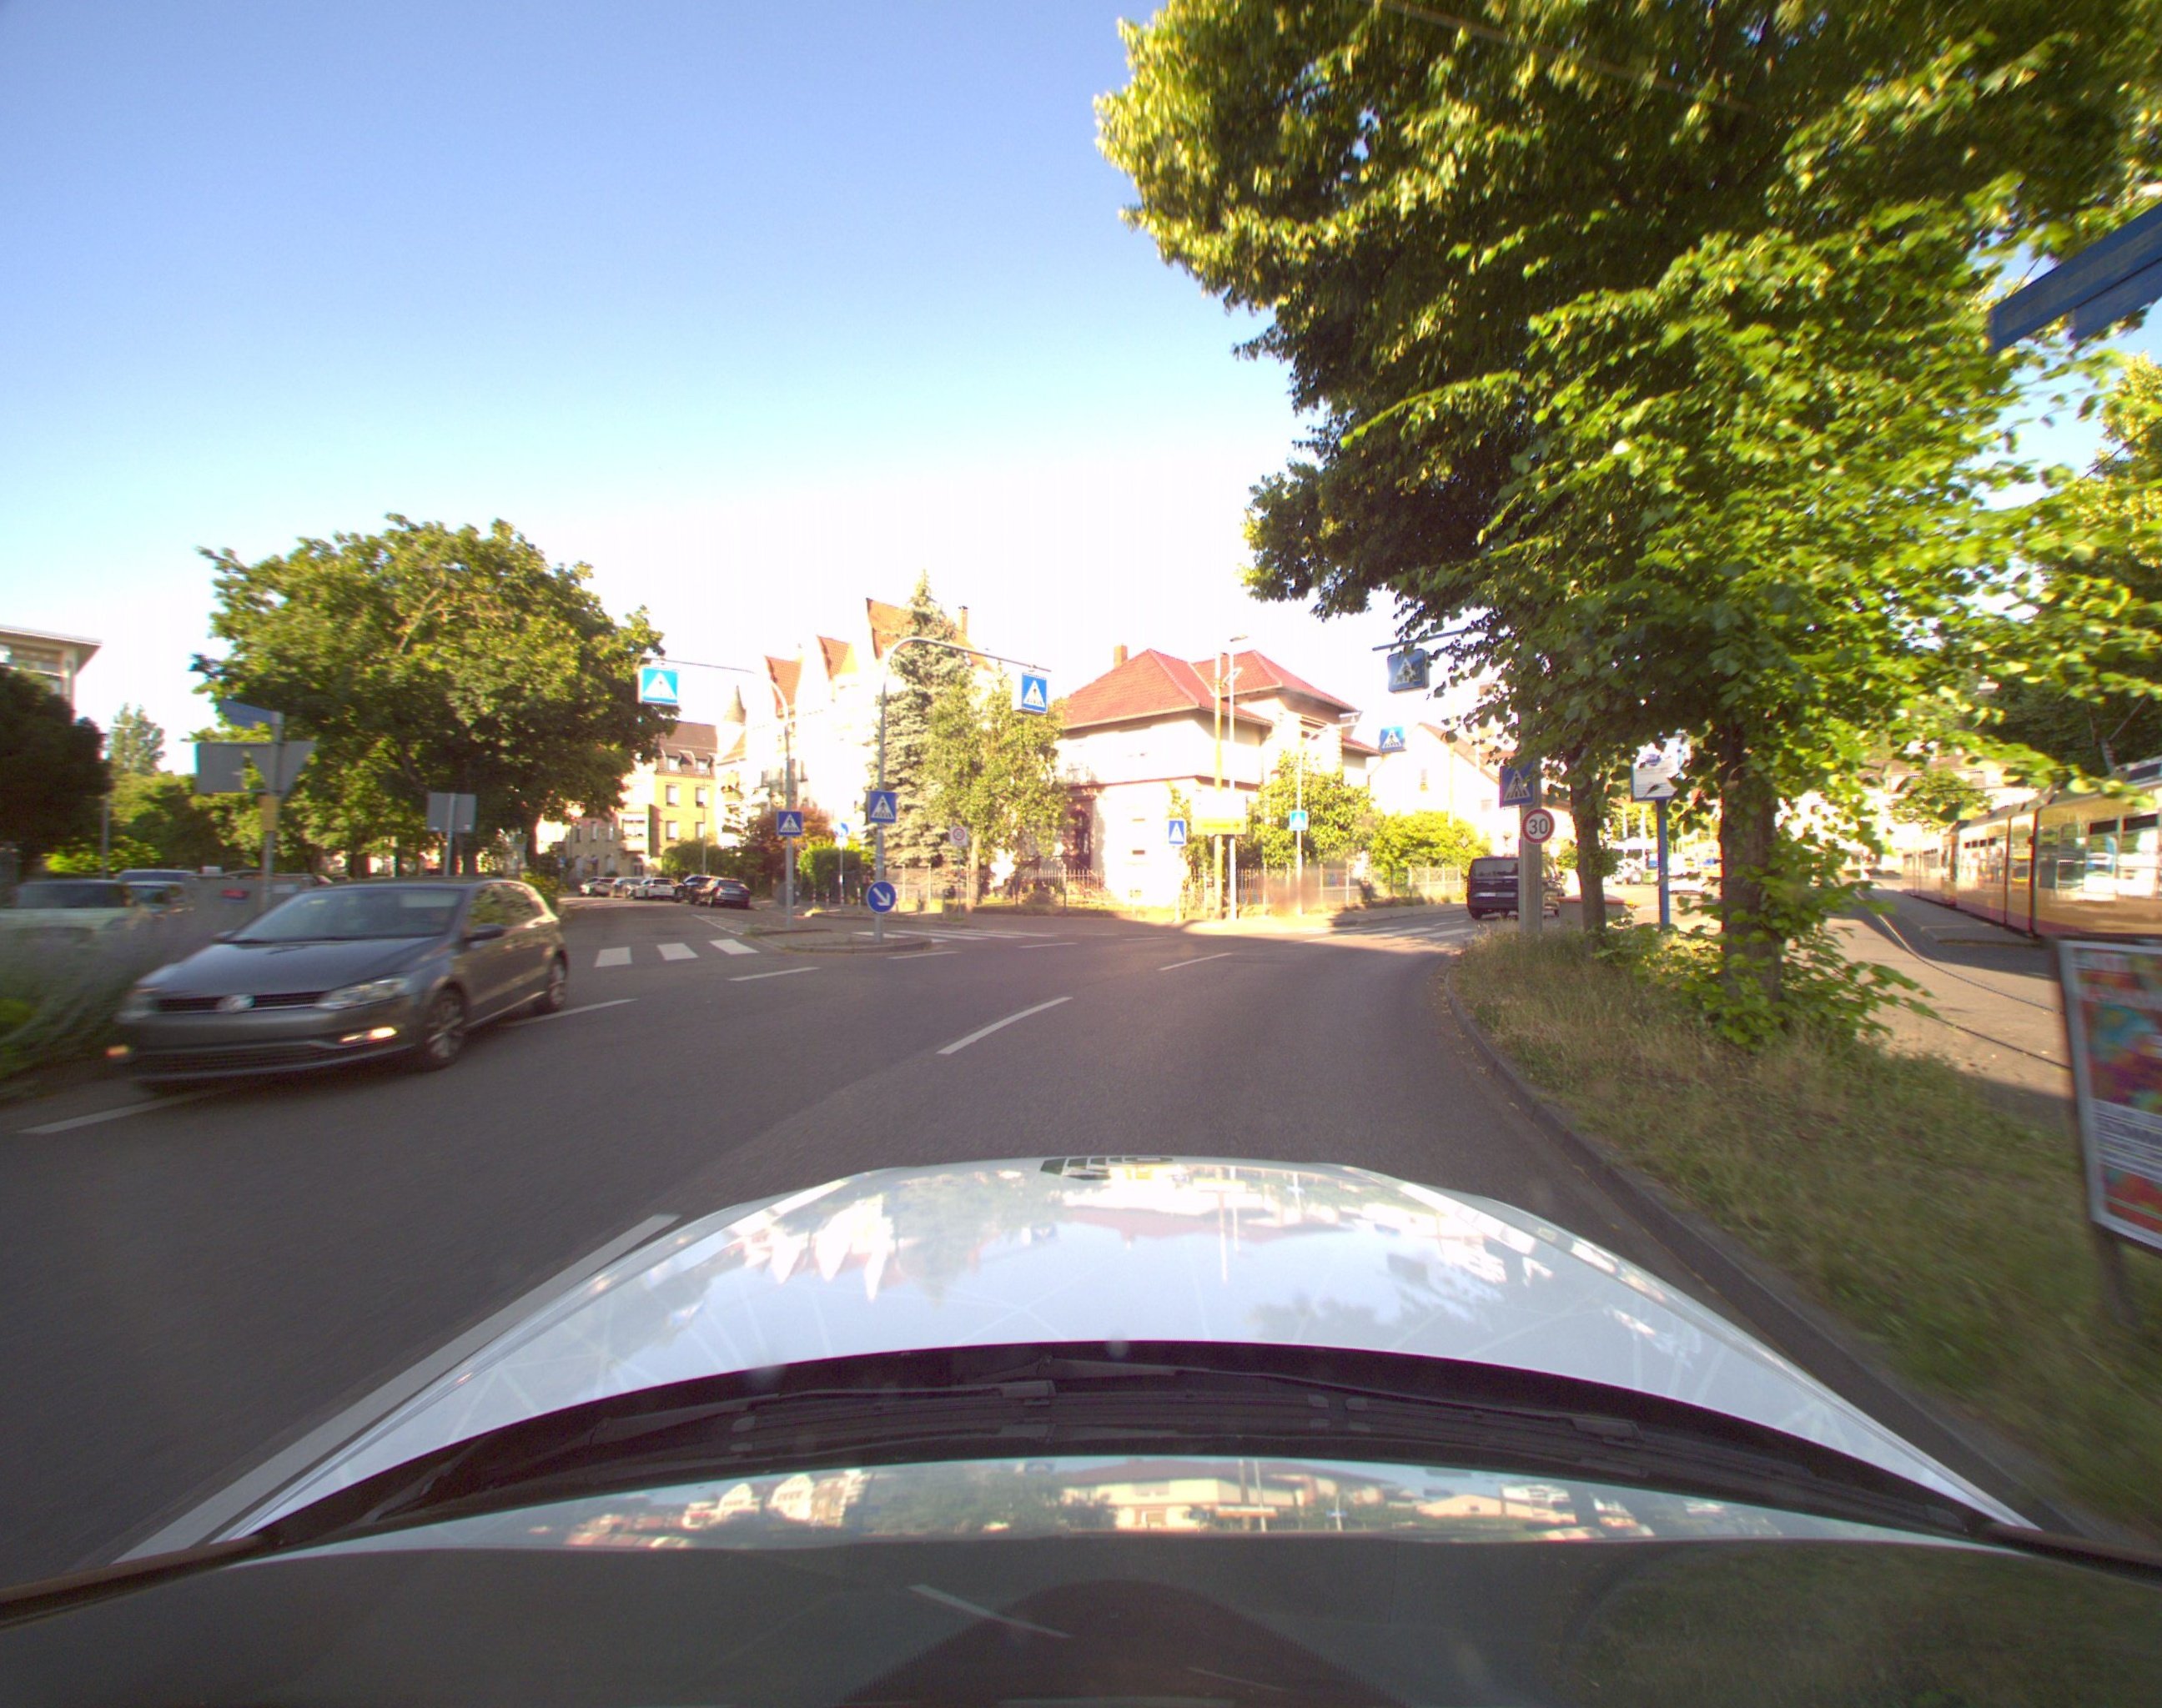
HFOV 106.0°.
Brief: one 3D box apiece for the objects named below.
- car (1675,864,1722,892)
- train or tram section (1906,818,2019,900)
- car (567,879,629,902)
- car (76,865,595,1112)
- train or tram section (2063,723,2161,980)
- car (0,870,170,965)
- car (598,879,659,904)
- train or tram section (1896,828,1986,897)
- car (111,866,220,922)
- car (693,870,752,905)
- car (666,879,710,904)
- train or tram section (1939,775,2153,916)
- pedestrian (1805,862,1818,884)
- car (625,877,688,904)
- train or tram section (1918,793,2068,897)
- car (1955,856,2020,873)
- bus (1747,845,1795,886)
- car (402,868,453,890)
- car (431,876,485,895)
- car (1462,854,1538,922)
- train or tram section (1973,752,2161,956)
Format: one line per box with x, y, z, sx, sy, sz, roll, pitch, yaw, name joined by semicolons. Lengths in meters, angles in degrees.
40.328;1.558;53.298;1.974;1.717;4.024;-1;-2;31;car
42.685;0.278;39.727;2.749;3.556;9.980;-1;-1;42;train or tram section
-35.326;2.612;59.475;4.866;1.596;2.362;-1;-2;40;car
-5.655;0.830;6.883;1.716;1.403;3.717;-2;0;-16;car
15.853;-0.036;10.198;2.749;3.556;9.981;-1;-1;40;train or tram section
-18.261;1.066;14.923;1.824;1.537;3.861;2;-2;-45;car
-30.969;2.534;55.652;2.361;1.596;4.868;2;-2;-45;car
49.433;0.499;47.057;2.749;3.556;9.980;-1;-1;42;train or tram section
-29.904;1.255;26.730;1.952;1.663;4.454;2;-2;-44;car
-17.381;1.610;39.393;2.007;1.596;3.959;1;-2;-32;car
-20.704;1.930;42.840;1.667;1.236;3.758;1;-2;-32;car
29.115;-0.161;25.089;2.749;3.556;9.980;-1;-1;41;train or tram section
58.810;1.503;65.587;0.542;1.767;0.551;1;-2;-9;pedestrian
-27.106;2.290;51.889;2.360;1.596;4.870;2;-2;-42;car
35.867;-0.250;32.417;2.749;3.556;9.980;-1;-1;41;train or tram section
109.270;1.298;98.227;2.011;2.014;5.166;2;-2;-43;car
60.359;1.071;71.138;2.679;3.291;10.271;-1;-2;43;bus
-62.245;2.328;77.541;4.865;2.041;2.362;-1;-2;33;car
-56.599;2.833;73.937;4.865;1.596;2.362;-1;-2;33;car
13.671;1.040;26.457;1.974;2.014;4.025;0;-1;31;car
22.341;0.031;17.777;2.749;3.556;9.980;-1;-1;41;train or tram section
